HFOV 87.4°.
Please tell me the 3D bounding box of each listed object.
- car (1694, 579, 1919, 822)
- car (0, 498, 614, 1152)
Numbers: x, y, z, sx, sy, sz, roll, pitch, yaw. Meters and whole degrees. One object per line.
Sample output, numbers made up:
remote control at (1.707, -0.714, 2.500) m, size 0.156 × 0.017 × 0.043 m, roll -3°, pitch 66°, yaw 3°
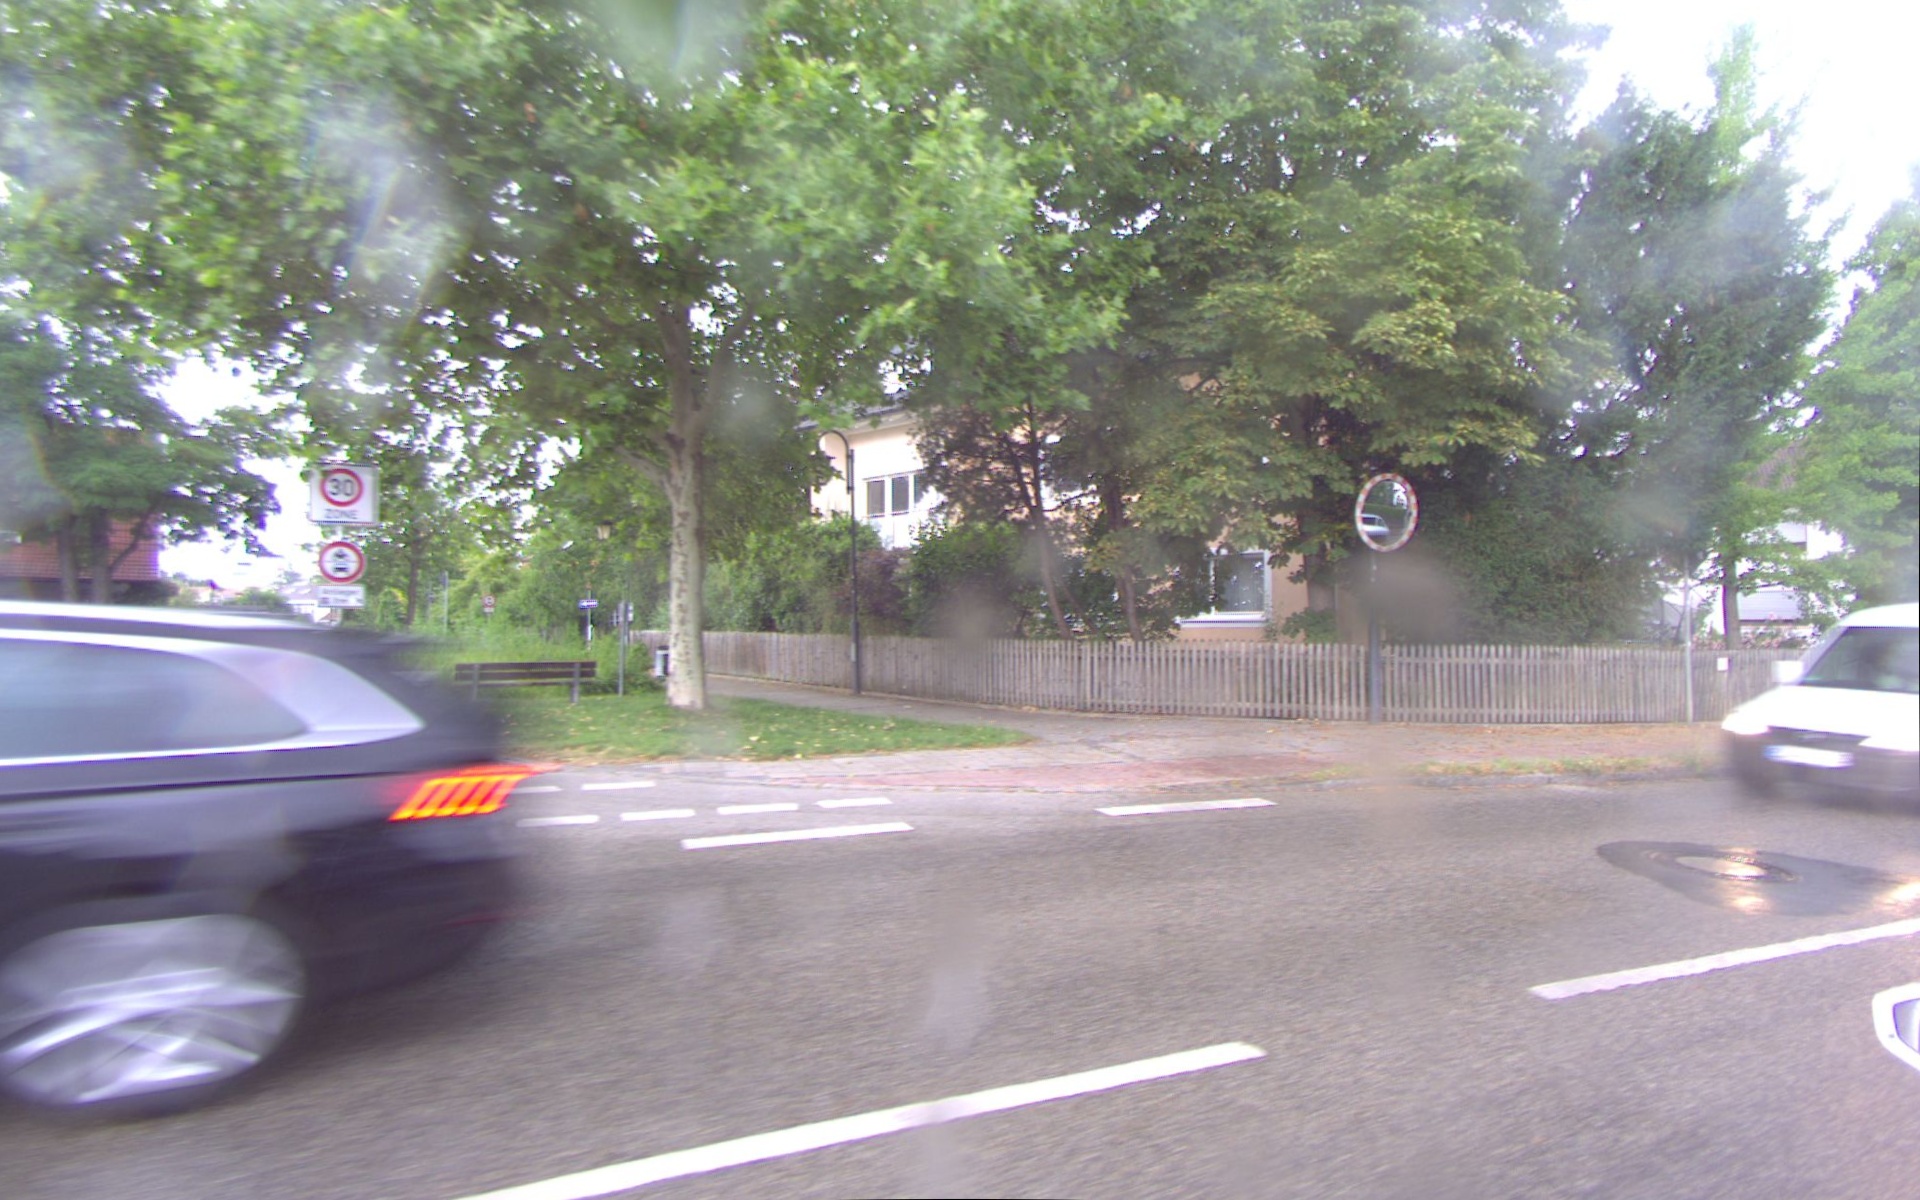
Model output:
car at (8.728, 0.812, 8.959) m, size 4.272 × 1.788 × 1.635 m, roll 2°, pitch 0°, yaw -25°
car at (-3.475, 0.568, 3.103) m, size 4.385 × 1.685 × 1.779 m, roll 2°, pitch -1°, yaw -25°
